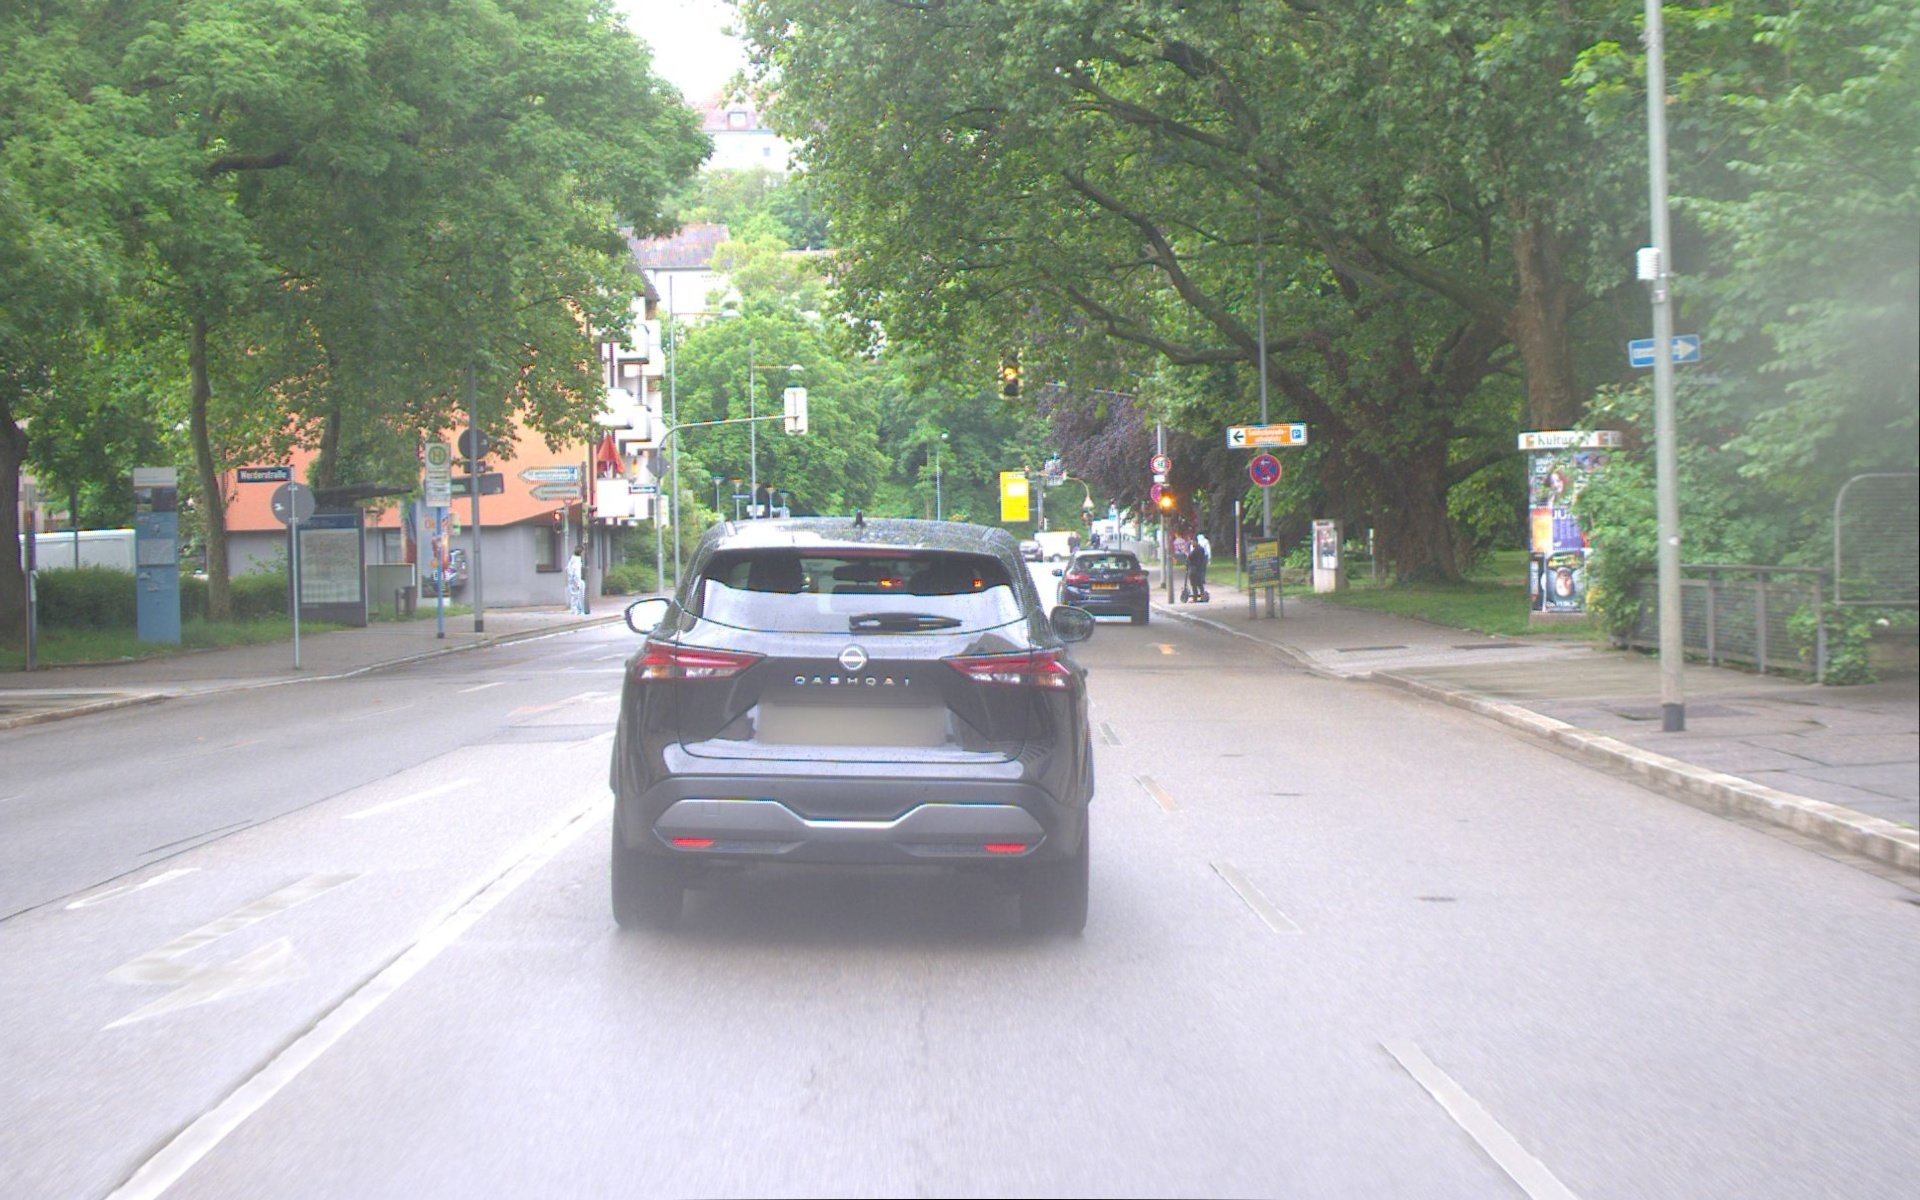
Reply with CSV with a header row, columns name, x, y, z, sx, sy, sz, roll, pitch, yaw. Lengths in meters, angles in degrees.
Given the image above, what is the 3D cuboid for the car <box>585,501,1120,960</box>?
name,x,y,z,sx,sy,sz,roll,pitch,yaw
car,-0.513,0.425,14.296,1.894,1.623,4.001,1,1,-4

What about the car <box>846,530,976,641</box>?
name,x,y,z,sx,sy,sz,roll,pitch,yaw
car,-0.748,-0.233,55.275,1.946,1.679,4.000,-1,0,1

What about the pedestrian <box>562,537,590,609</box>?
name,x,y,z,sx,sy,sz,roll,pitch,yaw
pedestrian,-9.597,-0.686,85.918,0.666,1.785,0.722,1,1,-7

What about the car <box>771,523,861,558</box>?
name,x,y,z,sx,sy,sz,roll,pitch,yaw
car,-9.887,-4.088,235.753,6.076,2.347,2.422,1,1,-3

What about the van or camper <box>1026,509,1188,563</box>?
name,x,y,z,sx,sy,sz,roll,pitch,yaw
van or camper,10.069,-4.419,237.018,10.929,3.545,3.185,1,1,-1

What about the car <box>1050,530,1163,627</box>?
name,x,y,z,sx,sy,sz,roll,pitch,yaw
car,2.946,-0.428,69.929,1.945,1.810,4.000,-3,0,-2

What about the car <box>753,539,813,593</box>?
name,x,y,z,sx,sy,sz,roll,pitch,yaw
car,-6.171,-1.207,120.288,1.821,1.790,3.865,1,1,1

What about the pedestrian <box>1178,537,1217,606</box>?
name,x,y,z,sx,sy,sz,roll,pitch,yaw
pedestrian,6.132,-0.738,88.755,0.667,1.785,0.721,0,2,-42

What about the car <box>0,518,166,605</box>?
name,x,y,z,sx,sy,sz,roll,pitch,yaw
car,-18.433,-0.806,70.569,3.833,1.728,1.880,1,1,-2
